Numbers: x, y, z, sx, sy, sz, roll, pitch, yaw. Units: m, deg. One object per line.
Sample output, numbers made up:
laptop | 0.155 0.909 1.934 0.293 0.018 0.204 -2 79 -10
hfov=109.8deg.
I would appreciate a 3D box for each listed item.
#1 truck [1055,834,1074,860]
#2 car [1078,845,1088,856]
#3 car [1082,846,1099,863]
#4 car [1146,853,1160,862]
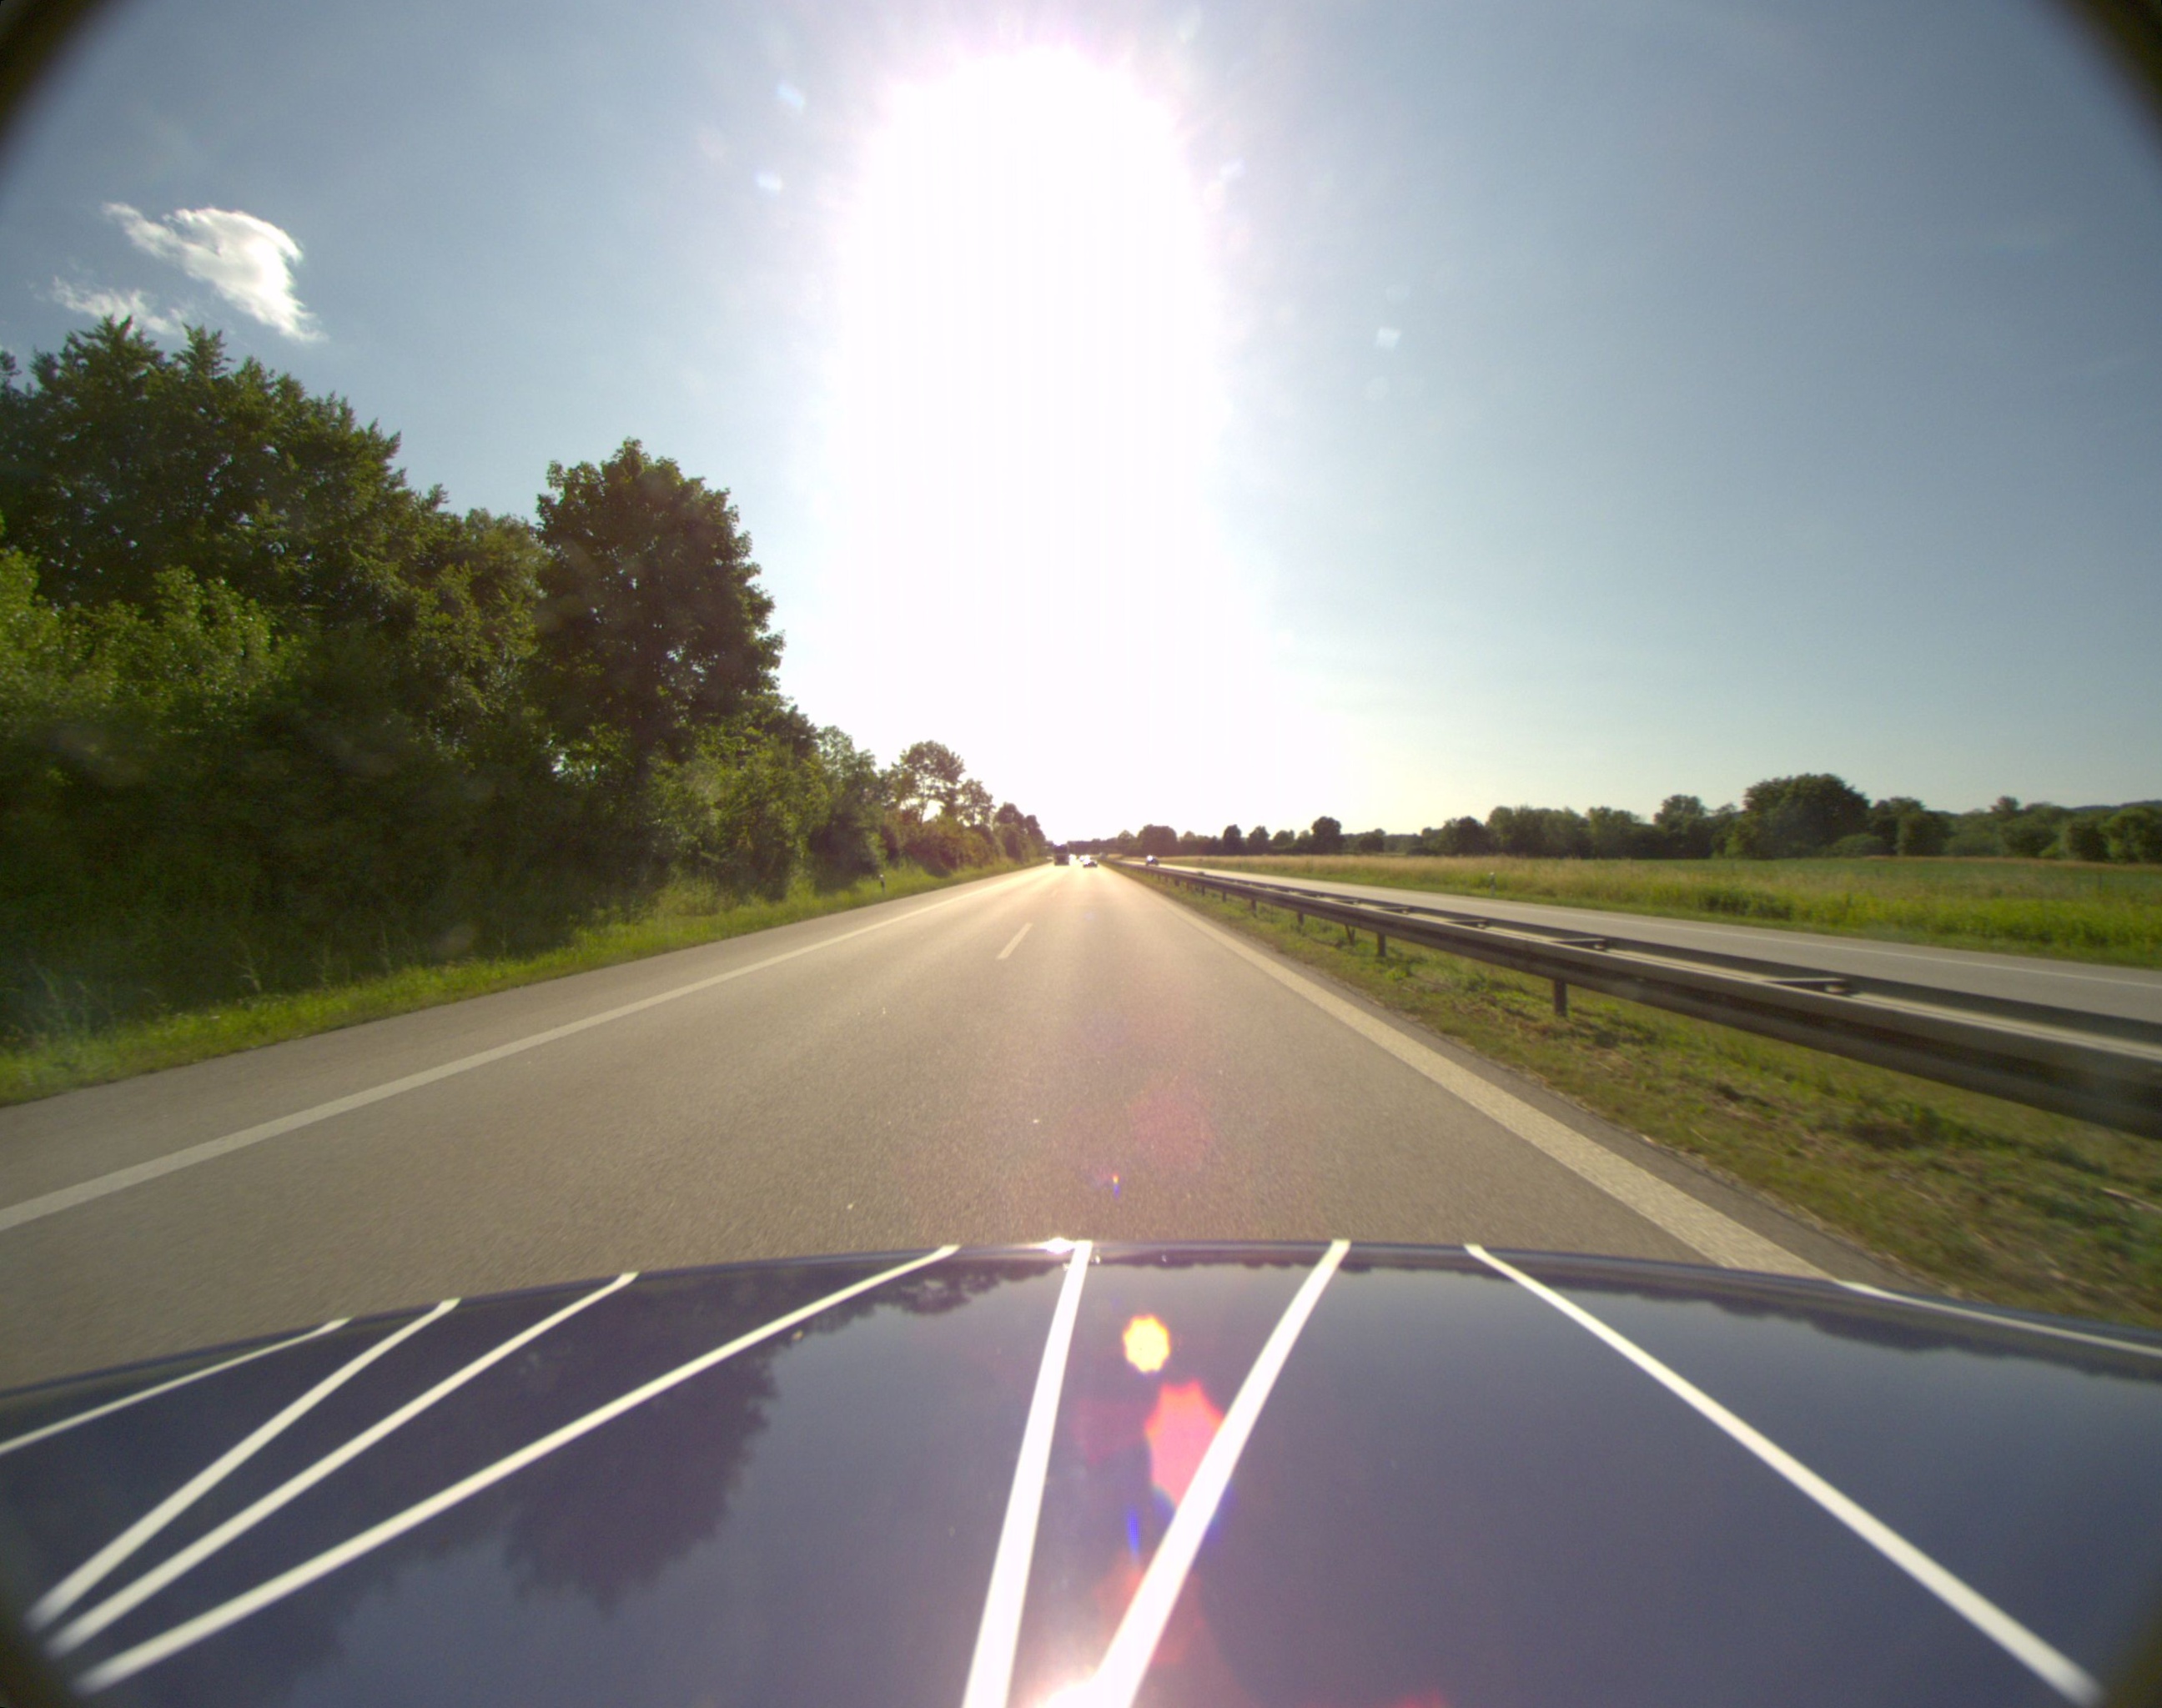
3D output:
truck | -2.722 -1.176 128.212 2.759 4.242 8.492 -2 1 0
car | 0.506 -0.808 176.810 2.193 2.502 5.351 -2 1 0
car | 1.255 0.091 95.288 1.998 2.002 4.358 -2 1 1
car | 11.285 0.543 118.997 1.774 1.476 4.913 0 0 1
